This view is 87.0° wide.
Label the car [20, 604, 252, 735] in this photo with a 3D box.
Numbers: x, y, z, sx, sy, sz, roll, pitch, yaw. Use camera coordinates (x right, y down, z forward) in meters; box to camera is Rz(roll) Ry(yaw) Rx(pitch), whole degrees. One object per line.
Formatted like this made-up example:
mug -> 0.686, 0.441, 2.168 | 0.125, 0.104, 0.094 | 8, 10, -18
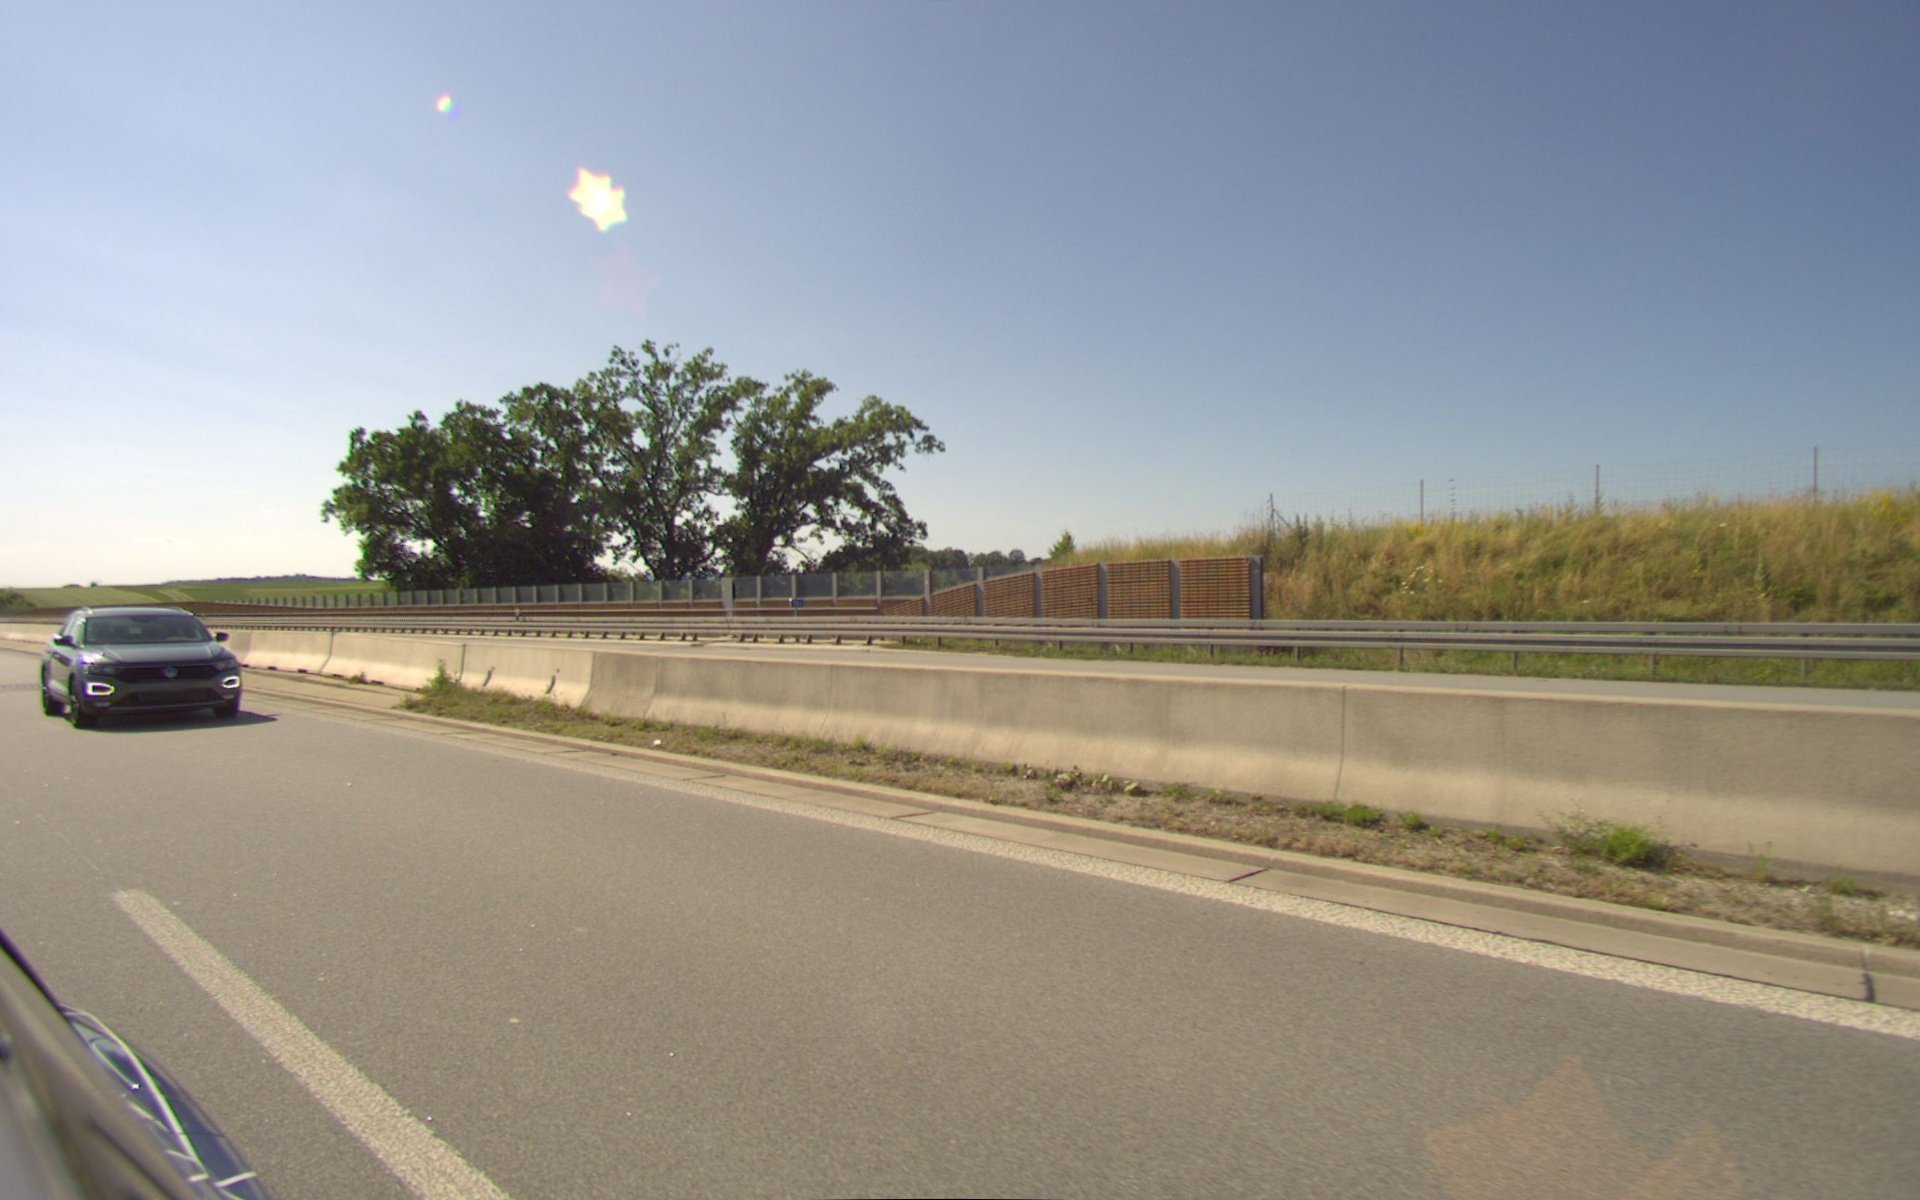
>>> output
car -> -12.066, 0.889, 14.688 | 4.985, 1.581, 1.754 | -1, 0, 41
